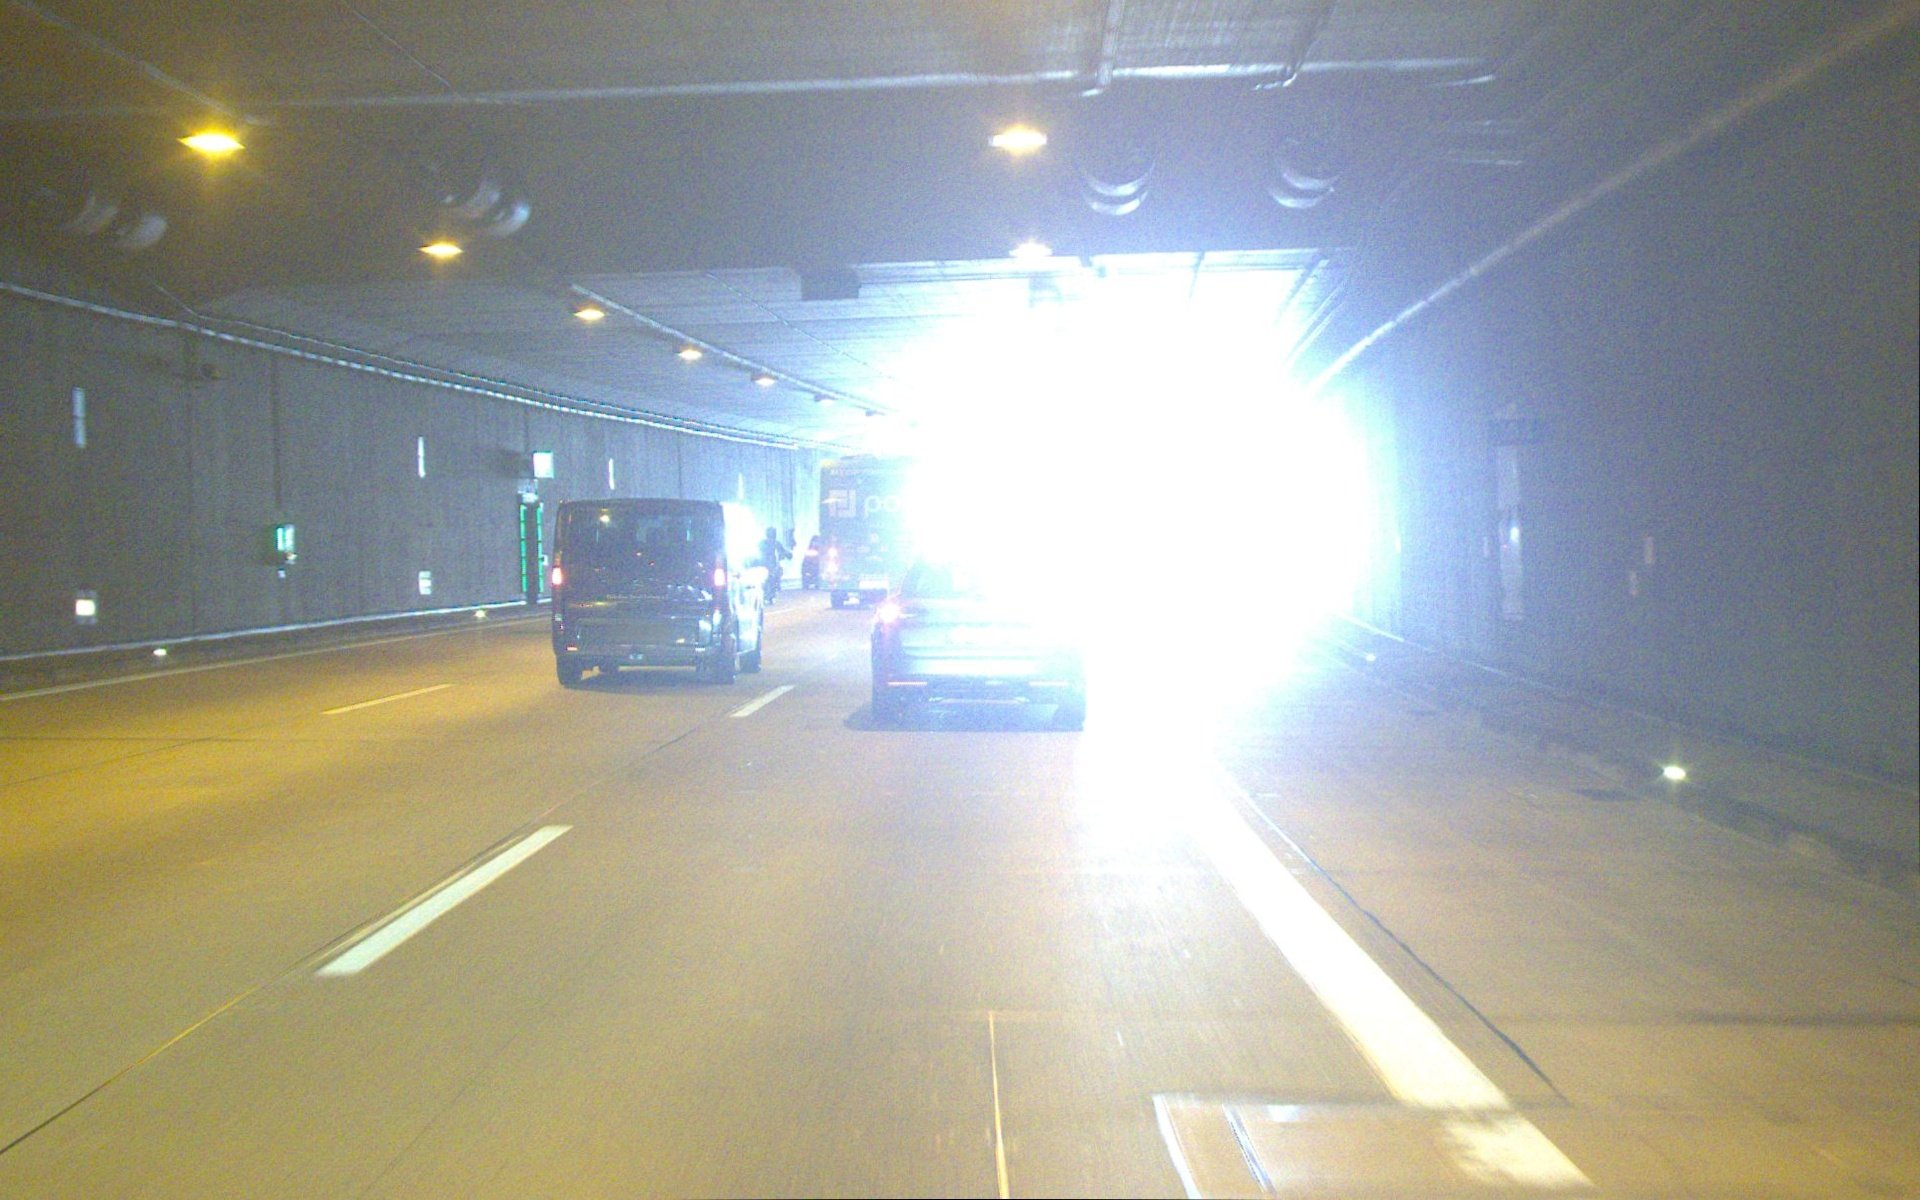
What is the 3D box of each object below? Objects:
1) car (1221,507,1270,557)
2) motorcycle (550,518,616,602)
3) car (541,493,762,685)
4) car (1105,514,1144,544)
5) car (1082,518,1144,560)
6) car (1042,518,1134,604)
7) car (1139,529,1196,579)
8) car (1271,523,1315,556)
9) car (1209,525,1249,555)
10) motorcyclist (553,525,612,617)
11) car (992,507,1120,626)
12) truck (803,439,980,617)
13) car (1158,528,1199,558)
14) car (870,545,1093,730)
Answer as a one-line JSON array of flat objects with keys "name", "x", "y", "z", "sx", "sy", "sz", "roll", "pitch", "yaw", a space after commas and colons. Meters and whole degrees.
[{"name": "car", "x": 12.627, "y": -2.981, "z": 151.731, "sx": 1.994, "sy": 2.007, "sz": 3.998, "roll": 0, "pitch": -1, "yaw": 7}, {"name": "motorcycle", "x": -6.077, "y": -0.637, "z": 55.513, "sx": 0.683, "sy": 1.292, "sz": 2.398, "roll": 0, "pitch": -1, "yaw": 3}, {"name": "car", "x": -3.241, "y": -0.148, "z": 36.821, "sx": 1.910, "sy": 1.938, "sz": 3.871, "roll": 0, "pitch": 1, "yaw": 2}, {"name": "car", "x": 9.177, "y": -3.955, "z": 191.768, "sx": 1.931, "sy": 1.637, "sz": 3.999, "roll": 0, "pitch": 1, "yaw": 6}, {"name": "car", "x": 6.380, "y": -2.508, "z": 142.815, "sx": 1.994, "sy": 1.626, "sz": 3.998, "roll": 0, "pitch": 0, "yaw": 11}, {"name": "car", "x": 2.857, "y": -0.839, "z": 75.970, "sx": 1.950, "sy": 1.766, "sz": 3.999, "roll": 0, "pitch": -1, "yaw": 3}, {"name": "car", "x": 7.333, "y": -1.620, "z": 121.859, "sx": 1.931, "sy": 1.637, "sz": 3.999, "roll": 0, "pitch": -1, "yaw": 2}, {"name": "car", "x": 16.963, "y": -3.083, "z": 175.245, "sx": 1.931, "sy": 1.637, "sz": 3.998, "roll": 1, "pitch": 1, "yaw": 10}, {"name": "car", "x": 15.746, "y": -3.500, "z": 201.133, "sx": 1.994, "sy": 1.626, "sz": 3.998, "roll": 0, "pitch": 0, "yaw": 9}, {"name": "motorcyclist", "x": -6.088, "y": -0.455, "z": 55.484, "sx": 0.777, "sy": 1.448, "sz": 1.068, "roll": 0, "pitch": -1, "yaw": 3}, {"name": "car", "x": 1.596, "y": -0.553, "z": 55.863, "sx": 1.857, "sy": 1.848, "sz": 3.999, "roll": 0, "pitch": 1, "yaw": 4}, {"name": "truck", "x": -1.401, "y": -1.538, "z": 74.529, "sx": 3.039, "sy": 3.661, "sz": 7.391, "roll": 0, "pitch": 1, "yaw": 5}, {"name": "car", "x": 13.099, "y": -3.415, "z": 205.934, "sx": 1.931, "sy": 1.637, "sz": 3.998, "roll": 0, "pitch": -1, "yaw": 11}, {"name": "car", "x": 0.241, "y": 0.268, "z": 29.463, "sx": 1.742, "sy": 1.459, "sz": 3.871, "roll": 0, "pitch": 1, "yaw": 3}]
